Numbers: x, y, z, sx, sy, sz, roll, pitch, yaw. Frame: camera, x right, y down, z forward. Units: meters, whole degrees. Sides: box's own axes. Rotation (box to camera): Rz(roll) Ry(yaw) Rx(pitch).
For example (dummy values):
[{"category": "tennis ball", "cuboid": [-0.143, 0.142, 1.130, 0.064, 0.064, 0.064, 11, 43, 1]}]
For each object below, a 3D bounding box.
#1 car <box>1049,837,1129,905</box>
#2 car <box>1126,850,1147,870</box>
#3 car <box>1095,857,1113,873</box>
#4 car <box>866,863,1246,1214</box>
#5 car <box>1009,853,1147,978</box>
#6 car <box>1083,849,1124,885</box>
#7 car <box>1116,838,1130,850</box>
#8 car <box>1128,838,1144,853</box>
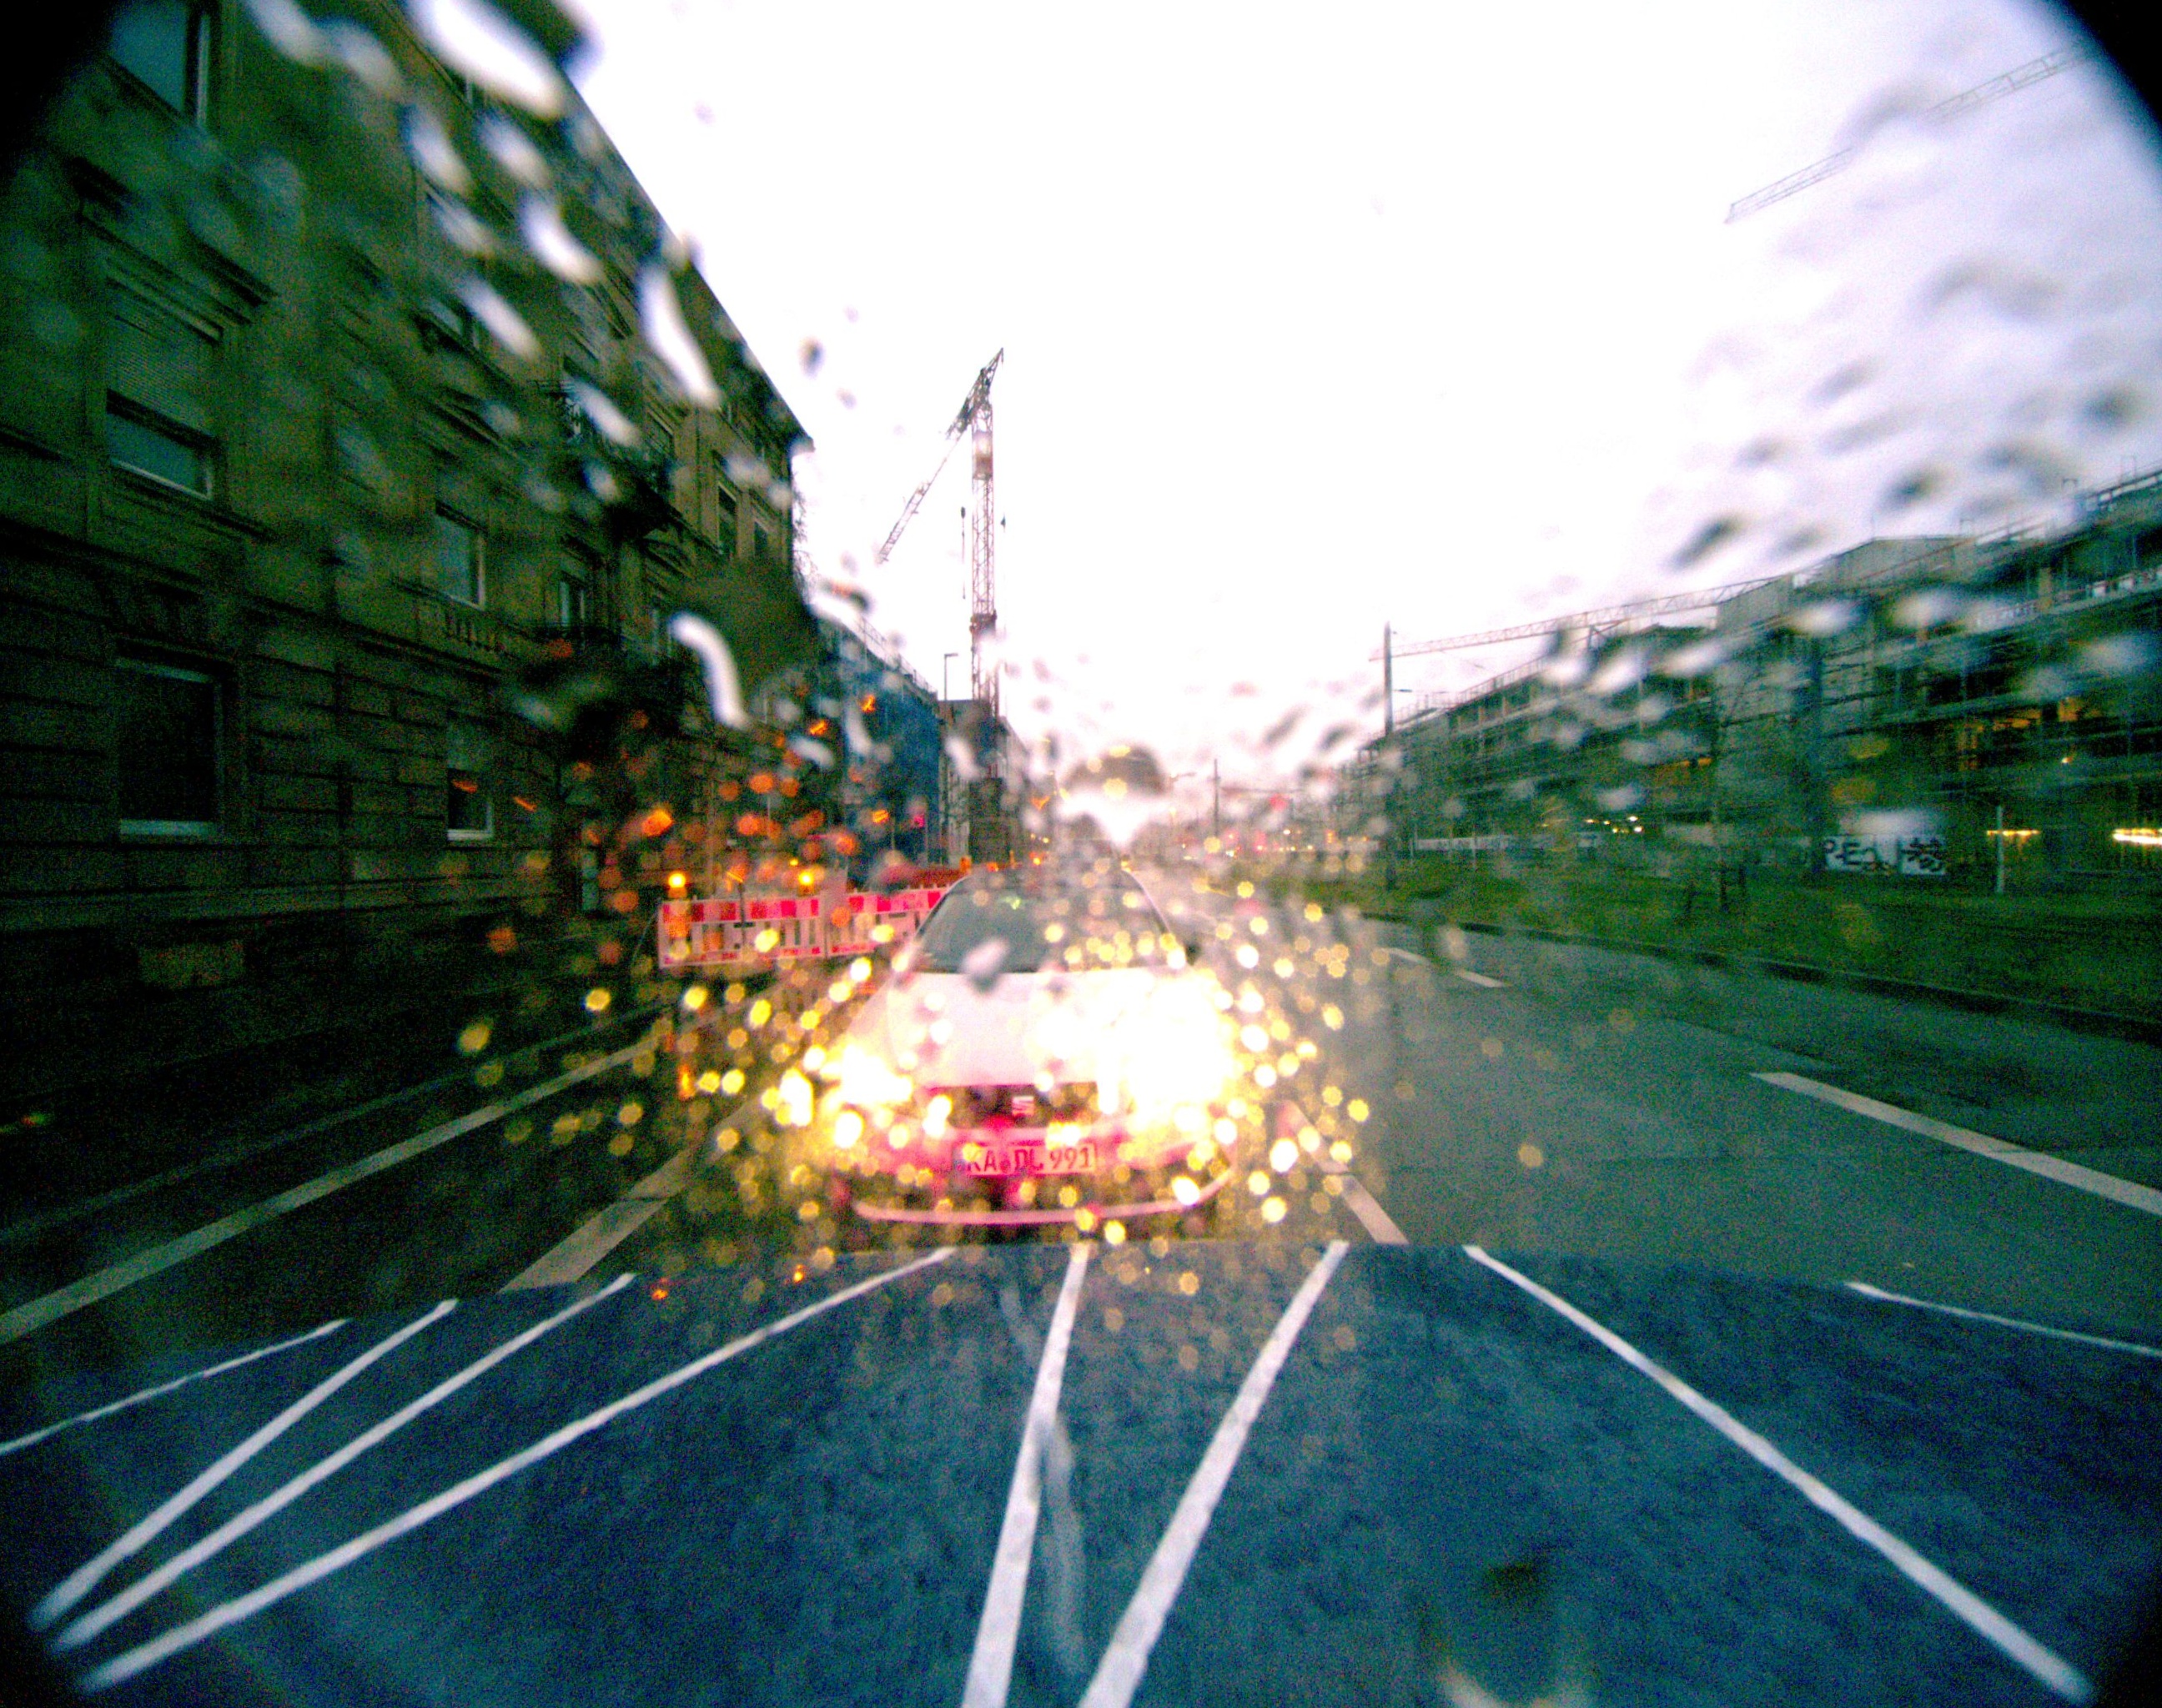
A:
[{"category": "car", "cuboid": [0.180, 0.356, 19.552, 1.769, 1.504, 3.899, -3, 1, 0]}, {"category": "car", "cuboid": [5.100, 0.501, 69.736, 1.768, 1.614, 3.900, -3, 1, 4]}, {"category": "car", "cuboid": [2.545, 1.194, 82.003, 1.768, 1.504, 3.900, -3, 1, 4]}, {"category": "car", "cuboid": [-0.122, 0.919, 5.631, 1.769, 1.504, 3.899, -3, 1, 0]}, {"category": "car", "cuboid": [-0.047, 0.809, 12.023, 1.769, 1.504, 3.899, -3, 1, 0]}, {"category": "car", "cuboid": [1.015, 0.574, 36.614, 1.769, 1.504, 3.899, -3, 1, 0]}, {"category": "car", "cuboid": [5.916, -1.417, 107.045, 1.768, 1.614, 3.900, -3, 1, 4]}, {"category": "car", "cuboid": [6.313, -1.025, 87.353, 1.768, 1.614, 3.900, -3, 1, 4]}]
